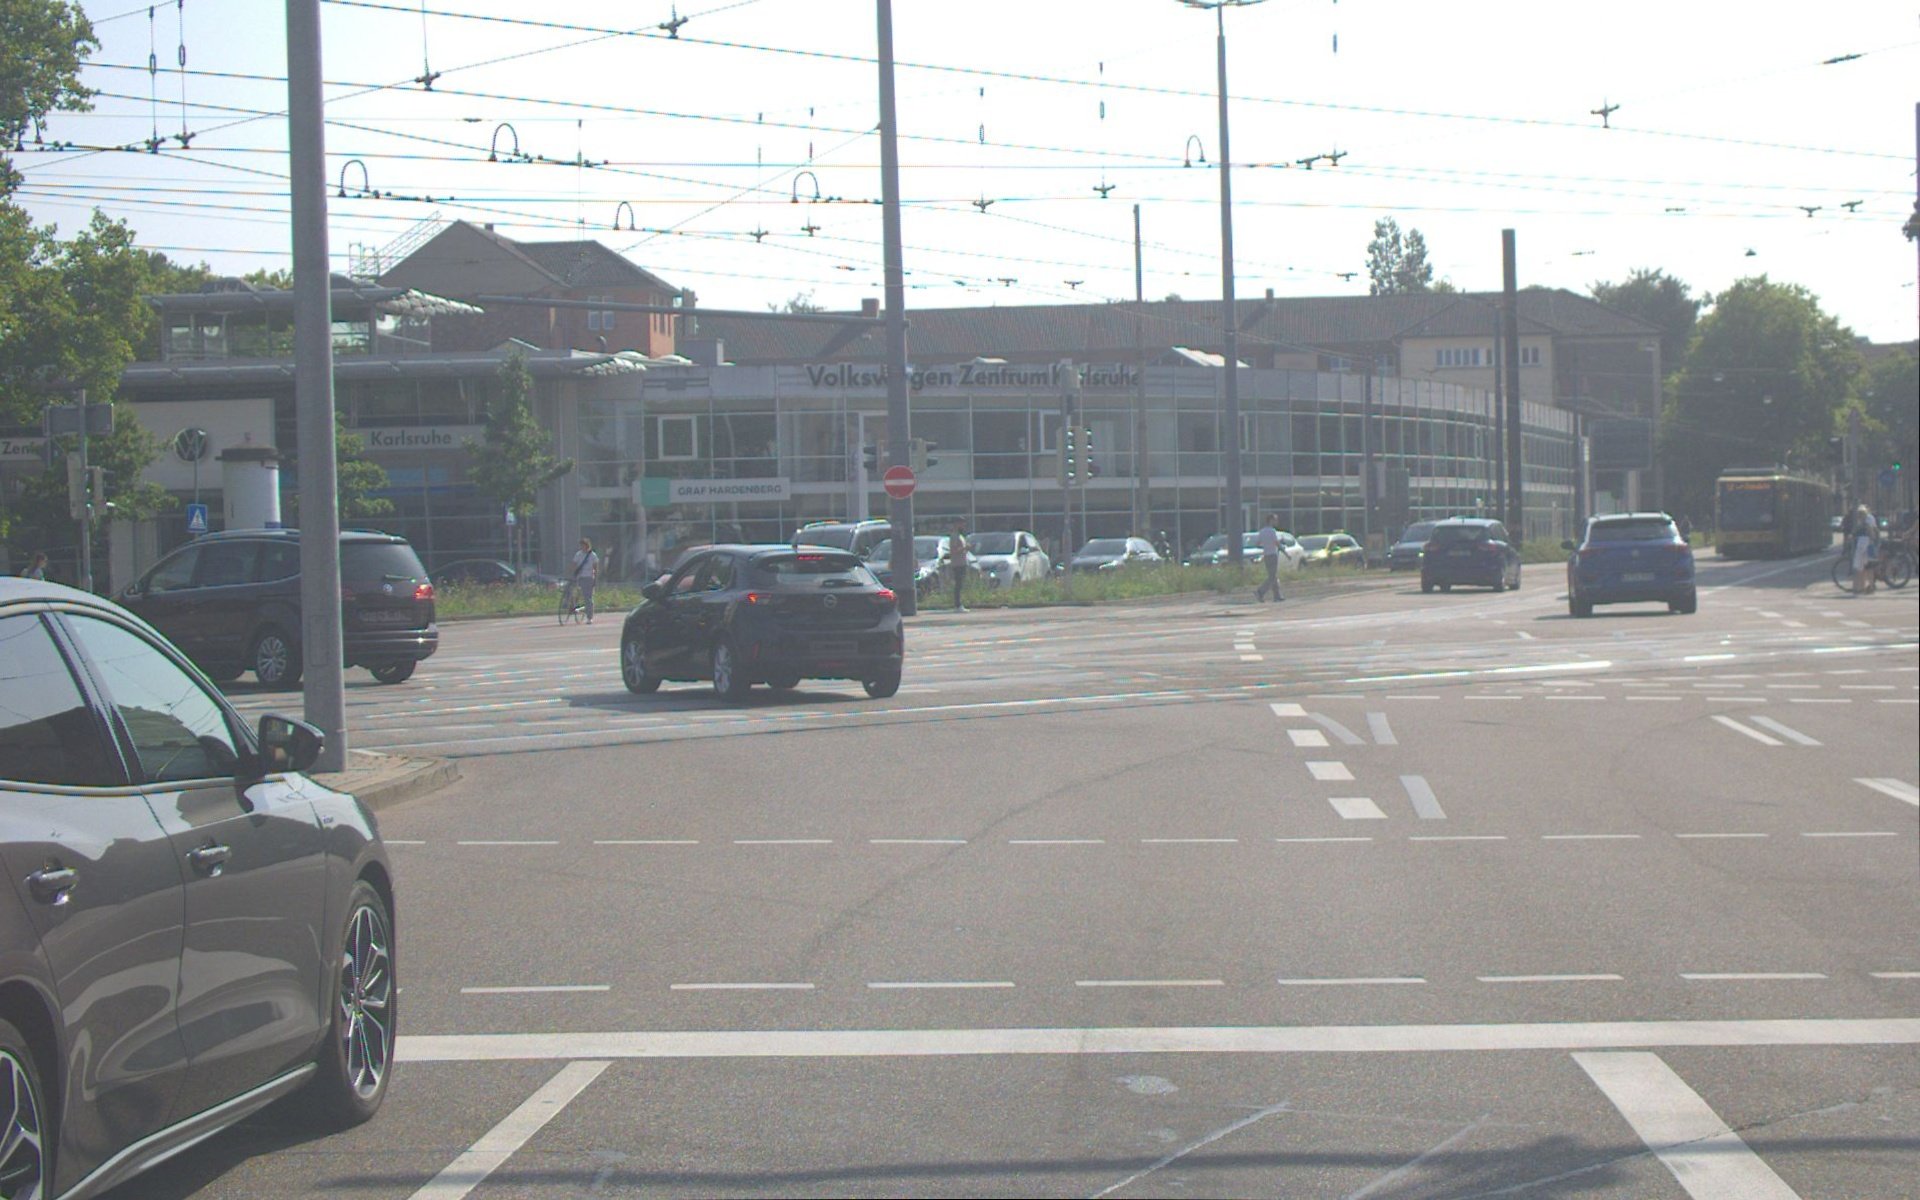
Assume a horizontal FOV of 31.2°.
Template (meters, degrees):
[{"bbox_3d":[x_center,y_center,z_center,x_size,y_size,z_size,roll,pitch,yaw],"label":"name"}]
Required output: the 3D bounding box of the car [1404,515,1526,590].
[{"bbox_3d":[11.118,-1.068,75.473,1.827,1.530,4.408,-1,1,19],"label":"car"}]

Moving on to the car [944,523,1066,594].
[{"bbox_3d":[1.025,-0.939,76.102,1.615,1.470,3.997,-3,0,16],"label":"car"}]

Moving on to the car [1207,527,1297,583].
[{"bbox_3d":[8.180,-1.271,95.981,1.615,1.470,3.997,-3,0,17],"label":"car"}]

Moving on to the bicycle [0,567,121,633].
[{"bbox_3d":[-15.756,0.004,58.960,2.599,1.053,0.961,-2,1,-13],"label":"bicycle"}]

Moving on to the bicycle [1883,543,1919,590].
[{"bbox_3d":[20.708,-0.725,71.836,2.617,0.961,1.093,-2,1,-22],"label":"bicycle"}]

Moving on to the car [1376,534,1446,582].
[{"bbox_3d":[15.267,-1.431,116.206,1.615,1.470,3.997,-3,0,17],"label":"car"}]

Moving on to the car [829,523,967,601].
[{"bbox_3d":[-1.232,-0.797,69.920,1.615,1.470,3.997,-3,0,16],"label":"car"}]

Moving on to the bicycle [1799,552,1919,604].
[{"bbox_3d":[17.921,-0.450,68.078,2.619,0.961,1.093,-2,2,-36],"label":"bicycle"}]

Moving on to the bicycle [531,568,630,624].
[{"bbox_3d":[-7.465,-0.089,67.837,0.958,1.053,2.606,0,1,17],"label":"bicycle"}]

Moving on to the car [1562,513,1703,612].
[{"bbox_3d":[10.310,-0.608,52.949,1.826,1.423,4.411,-1,1,7],"label":"car"}]

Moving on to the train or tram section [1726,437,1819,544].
[{"bbox_3d":[29.911,-4.001,126.218,2.657,3.686,10.581,-1,1,17],"label":"train or tram section"}]

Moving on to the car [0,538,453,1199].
[{"bbox_3d":[-2.561,0.592,7.665,1.832,1.430,4.550,-1,1,5],"label":"car"}]

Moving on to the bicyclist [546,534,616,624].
[{"bbox_3d":[-7.477,-0.418,67.802,0.958,1.742,1.165,0,1,17],"label":"bicyclist"}]

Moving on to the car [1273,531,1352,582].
[{"bbox_3d":[10.975,-1.374,106.820,1.615,1.470,3.997,-3,0,17],"label":"car"}]

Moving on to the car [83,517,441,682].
[{"bbox_3d":[-7.840,-0.024,38.374,1.826,1.708,4.410,-2,2,-43],"label":"car"}]

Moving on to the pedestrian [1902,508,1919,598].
[{"bbox_3d":[19.618,-0.958,69.241,0.925,1.791,0.859,-2,1,-39],"label":"pedestrian"}]

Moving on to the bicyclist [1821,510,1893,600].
[{"bbox_3d":[18.342,-0.922,70.324,0.934,1.793,1.093,-2,1,-22],"label":"bicyclist"}]

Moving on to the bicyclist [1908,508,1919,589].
[{"bbox_3d":[20.524,-1.086,71.749,0.934,1.674,1.093,-2,1,-22],"label":"bicyclist"}]

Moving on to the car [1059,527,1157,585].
[{"bbox_3d":[4.046,-1.208,93.226,1.615,1.470,3.997,-3,0,17],"label":"car"}]

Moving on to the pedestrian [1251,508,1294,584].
[{"bbox_3d":[6.283,-1.089,69.147,0.778,1.498,0.710,-1,1,10],"label":"pedestrian"}]

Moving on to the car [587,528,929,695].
[{"bbox_3d":[-2.012,0.102,32.859,1.682,1.487,4.373,-1,0,-26],"label":"car"}]

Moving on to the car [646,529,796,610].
[{"bbox_3d":[-4.681,-0.629,67.886,1.615,1.470,3.997,-3,0,16],"label":"car"}]

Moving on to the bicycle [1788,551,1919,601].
[{"bbox_3d":[18.364,-0.502,70.340,2.617,0.961,1.093,-2,1,-22],"label":"bicycle"}]

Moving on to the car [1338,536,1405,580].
[{"bbox_3d":[14.779,-1.508,123.451,1.615,1.470,3.997,-3,0,17],"label":"car"}]

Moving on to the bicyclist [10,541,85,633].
[{"bbox_3d":[-15.649,-0.233,58.973,1.162,1.522,0.961,-2,1,-12],"label":"bicyclist"}]

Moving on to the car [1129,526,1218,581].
[{"bbox_3d":[6.253,-1.372,100.277,1.615,1.470,3.997,-3,0,17],"label":"car"}]

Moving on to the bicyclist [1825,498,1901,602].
[{"bbox_3d":[17.873,-0.991,68.045,0.934,2.017,1.093,-2,1,-36],"label":"bicyclist"}]
